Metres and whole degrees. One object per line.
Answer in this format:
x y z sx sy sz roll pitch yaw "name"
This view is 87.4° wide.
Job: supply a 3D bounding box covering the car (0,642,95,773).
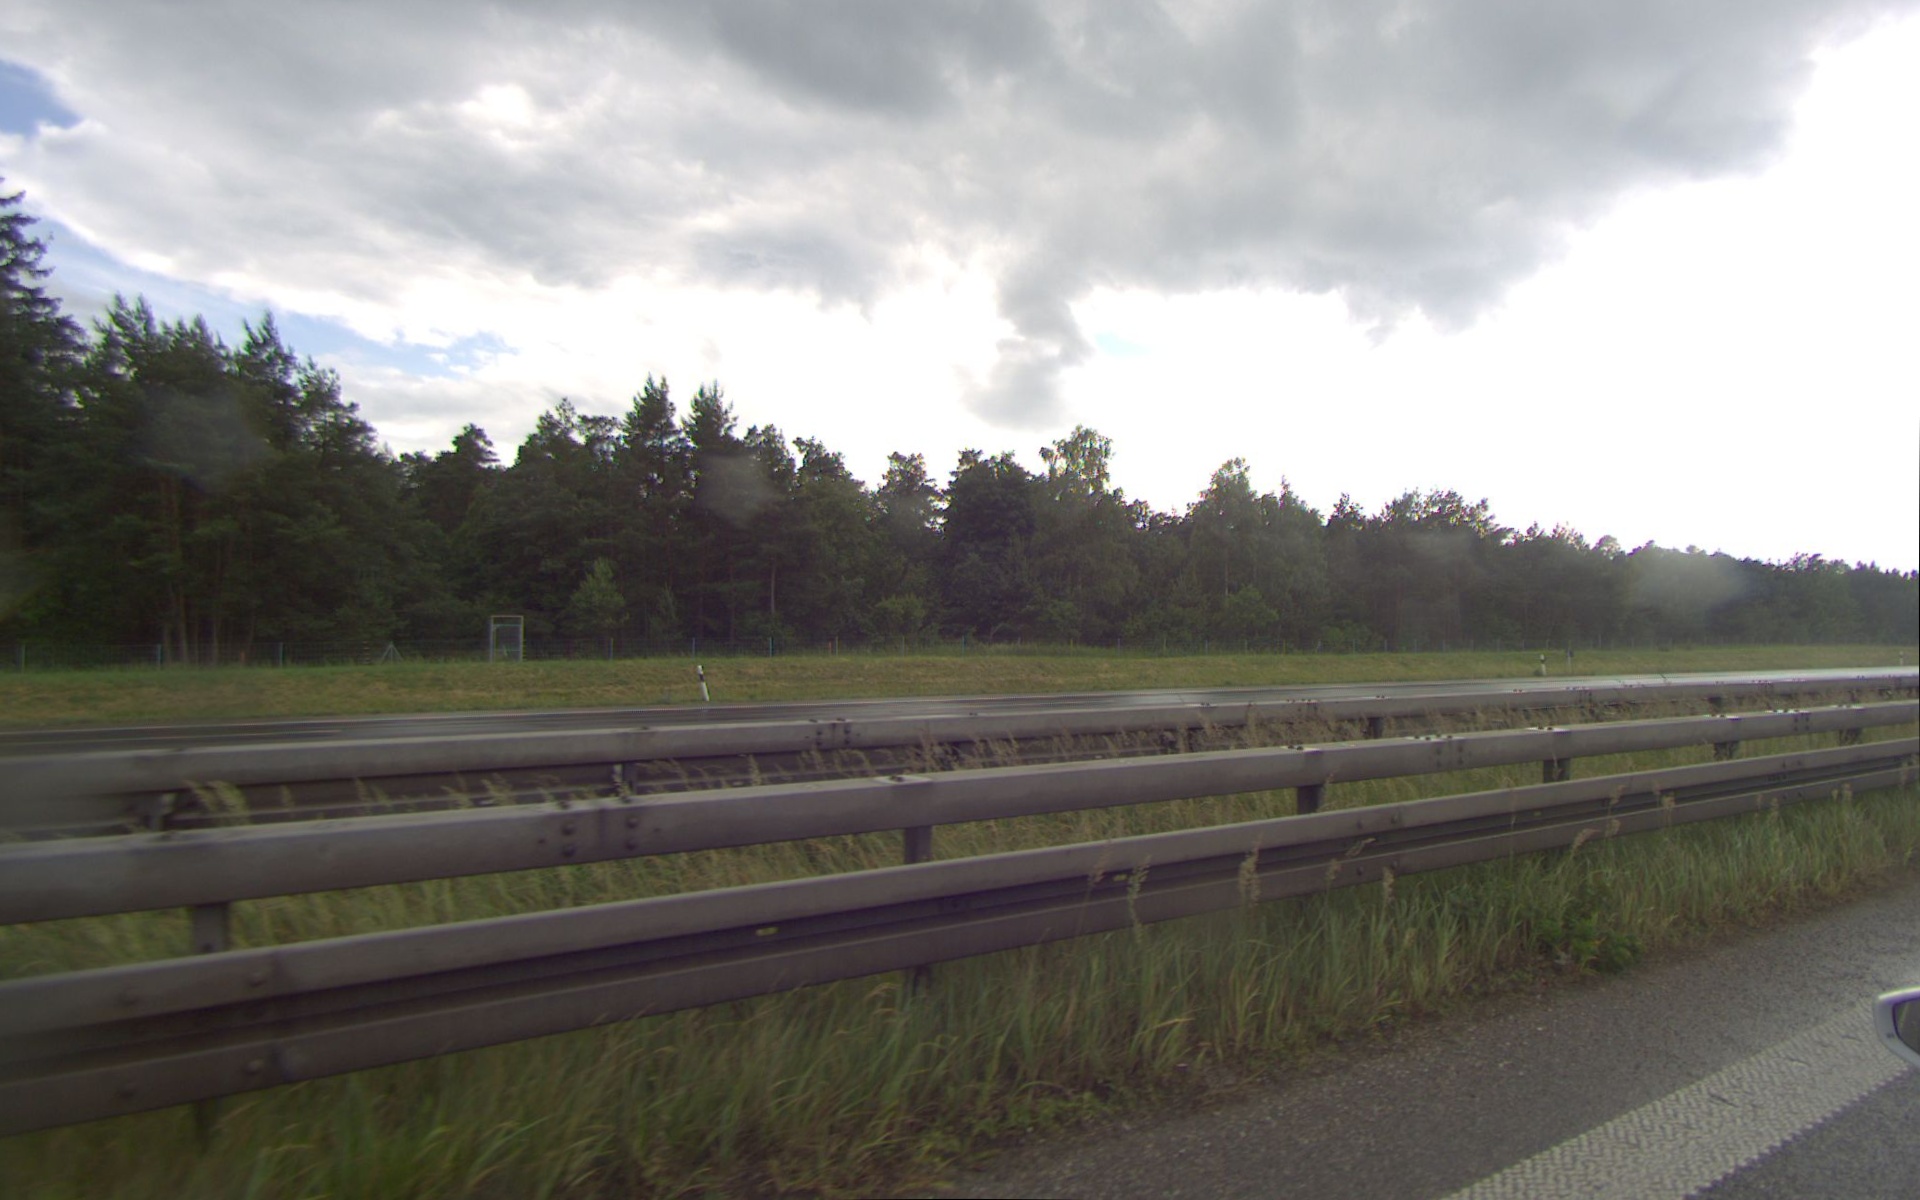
-12.690 1.222 11.466 3.955 1.491 1.865 2 -3 -32 "car"
